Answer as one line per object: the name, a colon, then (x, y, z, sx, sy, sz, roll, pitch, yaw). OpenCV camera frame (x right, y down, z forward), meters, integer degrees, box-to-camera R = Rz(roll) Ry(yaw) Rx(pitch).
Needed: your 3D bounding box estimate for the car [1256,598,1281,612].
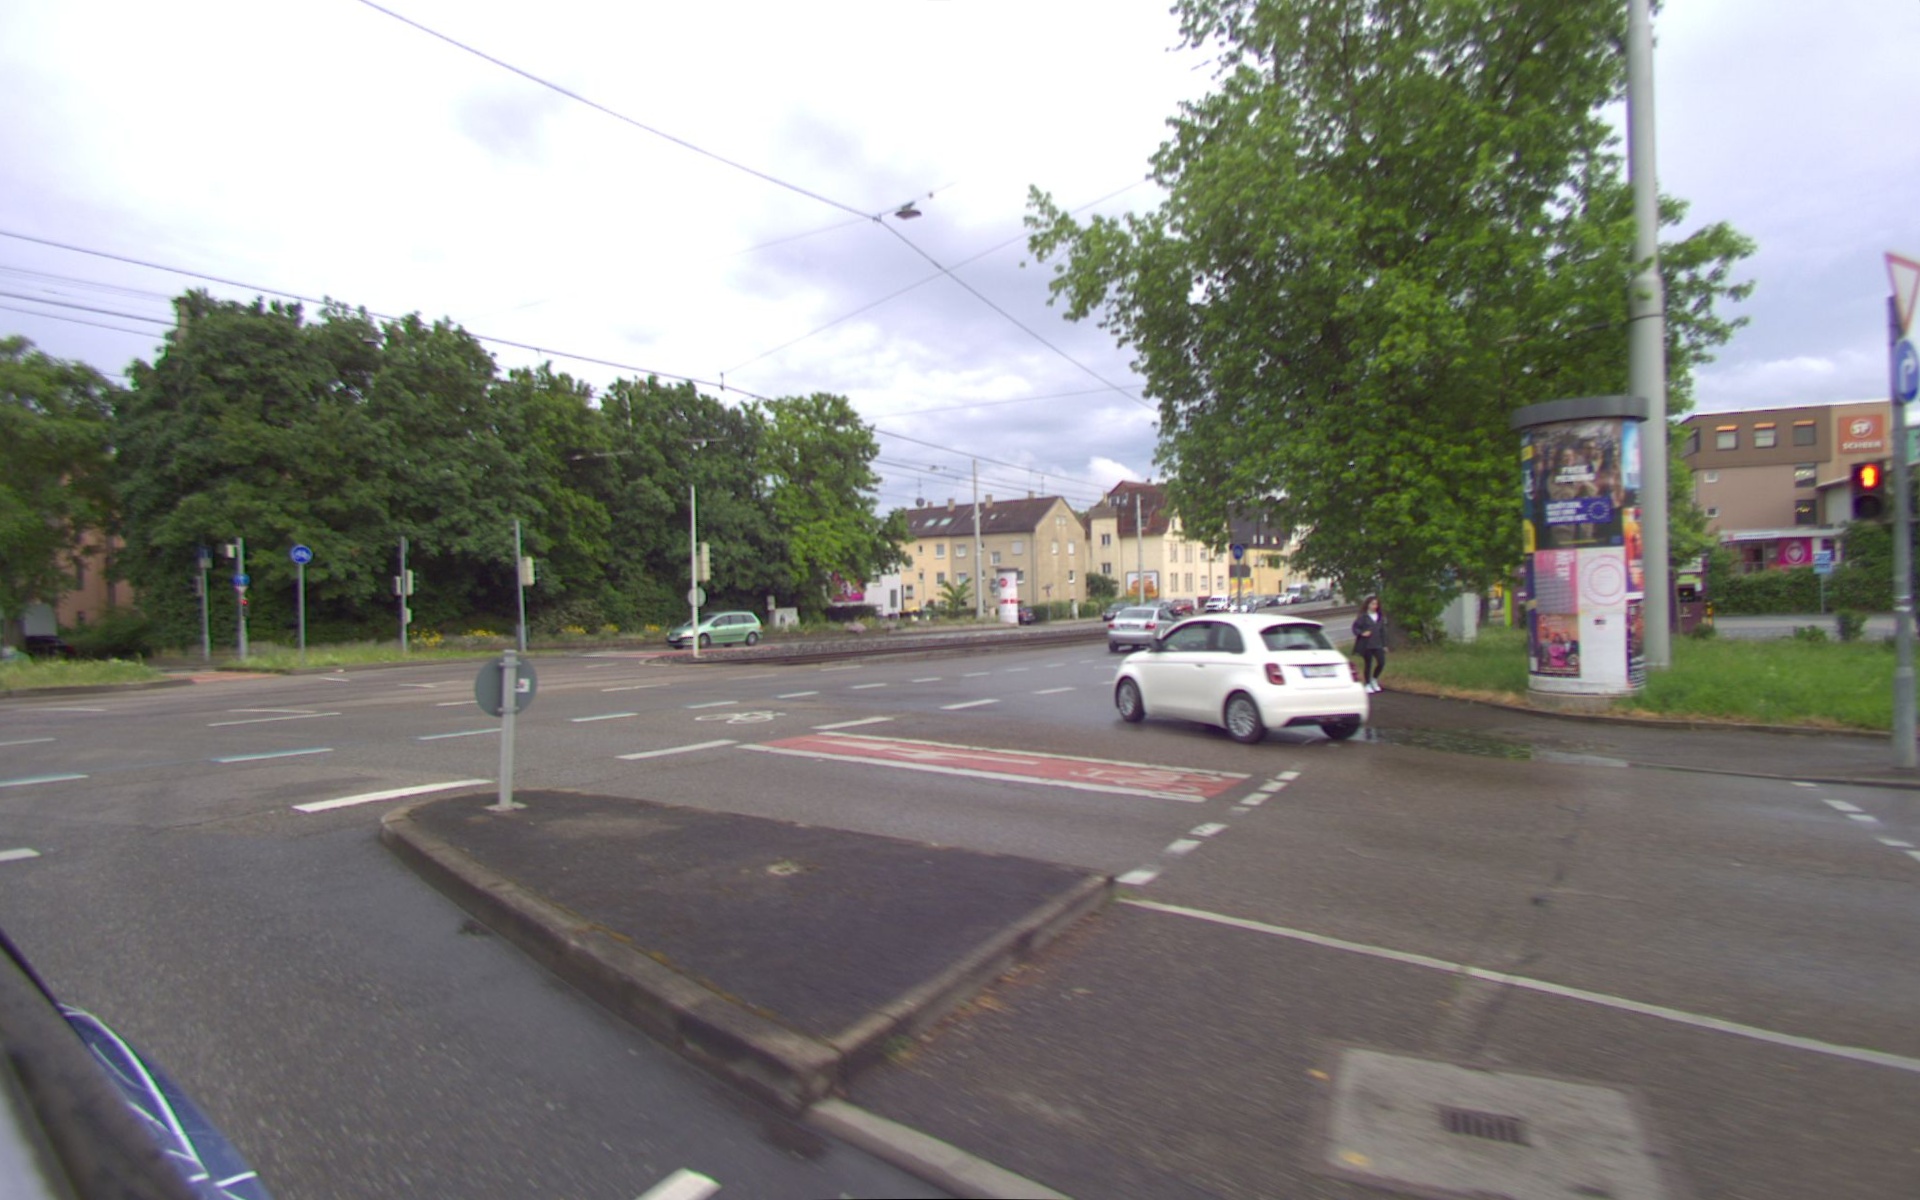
car: (36.163, 0.582, 118.666, 1.603, 1.412, 3.746, -4, -1, 36)

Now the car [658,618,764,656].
car: (-10.386, 1.526, 42.456, 1.884, 1.460, 4.153, -3, -2, 34)

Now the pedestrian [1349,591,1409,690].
pedestrian: (6.775, 0.646, 16.394, 0.584, 1.543, 0.669, -4, 0, -2)

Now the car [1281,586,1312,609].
car: (42.275, -0.336, 127.043, 2.041, 2.517, 5.852, -4, 0, 34)

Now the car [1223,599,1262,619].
car: (23.428, 0.739, 83.823, 1.884, 1.435, 4.153, -4, 0, 34)

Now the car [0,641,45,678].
car: (-37.745, 2.331, 38.928, 1.670, 1.364, 3.440, -2, -2, 28)

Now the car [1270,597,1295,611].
car: (39.005, 0.495, 122.483, 1.603, 1.475, 4.150, -4, -1, 35)

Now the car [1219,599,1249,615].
car: (29.757, 0.769, 109.796, 1.688, 1.523, 4.087, -4, -1, 36)

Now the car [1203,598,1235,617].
car: (26.970, 0.730, 105.273, 1.847, 1.770, 4.472, -4, -1, 32)

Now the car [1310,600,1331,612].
car: (48.756, 0.752, 136.882, 1.723, 1.355, 4.153, -4, 0, 34)

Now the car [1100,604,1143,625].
car: (13.754, 1.224, 86.002, 1.838, 1.545, 4.388, -4, -2, 34)

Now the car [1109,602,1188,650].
car: (6.173, 0.822, 32.803, 1.581, 1.448, 4.392, -2, -1, 23)

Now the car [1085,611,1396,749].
car: (3.425, 0.910, 13.175, 1.663, 1.494, 4.013, 0, -1, -25)

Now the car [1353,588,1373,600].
car: (60.580, -0.923, 152.225, 1.725, 1.559, 4.149, -4, 0, 37)

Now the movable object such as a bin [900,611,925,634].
movable object such as a bin: (-3.226, 1.530, 68.115, 1.184, 1.428, 1.122, -4, 0, 32)

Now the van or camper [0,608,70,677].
van or camper: (-40.132, 1.729, 40.519, 2.421, 2.776, 6.365, -2, -2, 30)

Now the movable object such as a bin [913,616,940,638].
movable object such as a bin: (-2.303, 1.854, 69.501, 1.311, 1.428, 1.286, -4, 0, 32)

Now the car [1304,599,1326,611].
car: (46.471, 0.604, 132.446, 1.723, 1.355, 4.039, -4, 0, 34)

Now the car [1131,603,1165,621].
car: (16.934, 1.056, 91.109, 1.667, 1.454, 3.886, -4, -1, 33)

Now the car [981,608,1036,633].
car: (4.052, 1.731, 84.954, 4.282, 1.668, 1.856, -6, -1, 38)
